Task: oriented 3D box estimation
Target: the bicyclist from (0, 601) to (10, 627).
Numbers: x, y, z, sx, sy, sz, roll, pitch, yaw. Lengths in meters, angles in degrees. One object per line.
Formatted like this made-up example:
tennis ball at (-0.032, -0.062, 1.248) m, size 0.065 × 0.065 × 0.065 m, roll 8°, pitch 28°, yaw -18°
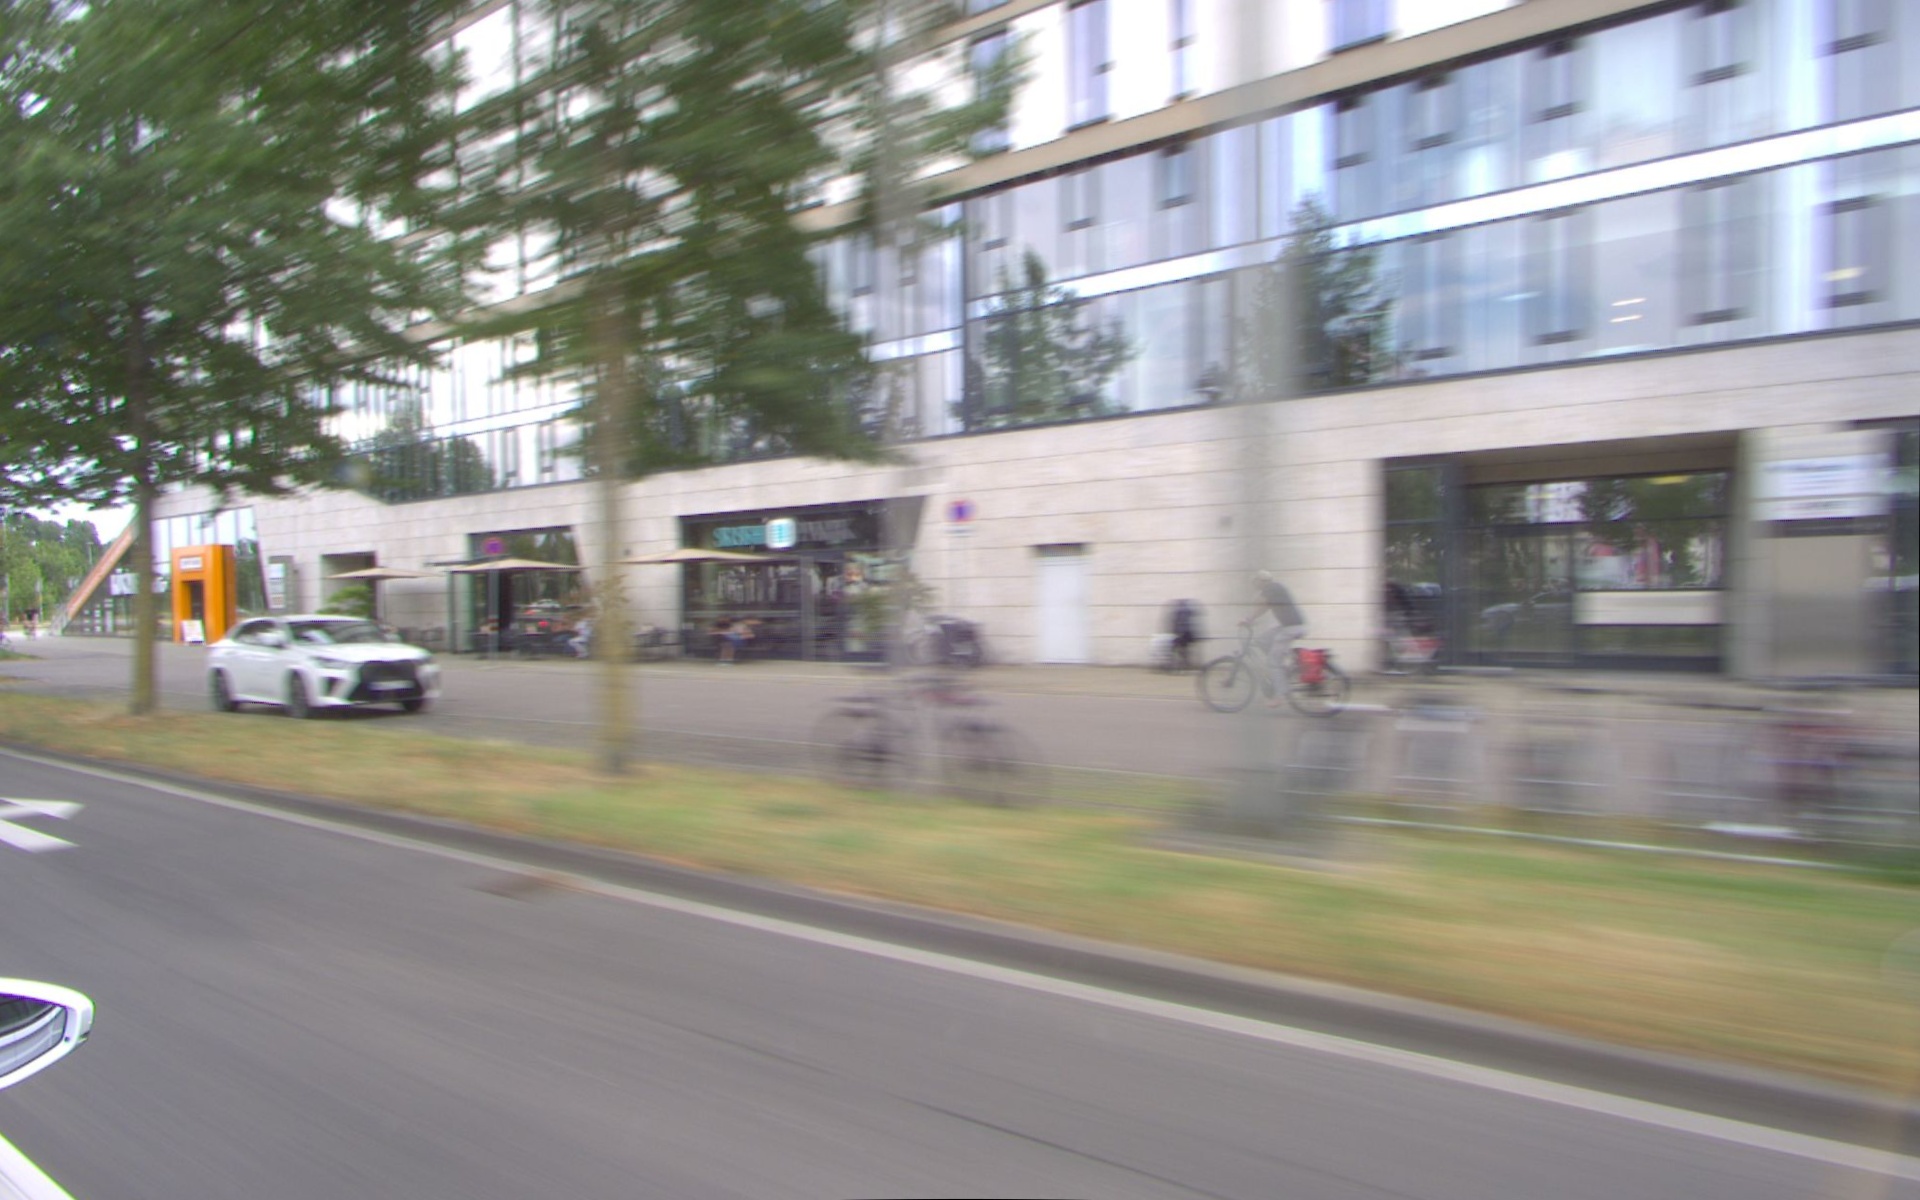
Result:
bicyclist at (-68.566, 1.004, 71.434) m, size 1.157 × 1.813 × 0.864 m, roll 0°, pitch 1°, yaw 32°

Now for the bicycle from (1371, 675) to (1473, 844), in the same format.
bicycle at (3.213, 1.019, 6.891) m, size 0.494 × 0.963 × 1.860 m, roll 0°, pitch -3°, yaw 29°

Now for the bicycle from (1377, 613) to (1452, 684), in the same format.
bicycle at (7.303, 0.761, 16.162) m, size 0.599 × 1.040 × 1.602 m, roll -1°, pitch 1°, yaw 6°

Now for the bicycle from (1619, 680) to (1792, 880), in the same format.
bicycle at (4.424, 0.989, 6.057) m, size 0.603 × 0.963 × 1.860 m, roll 0°, pitch -3°, yaw 29°

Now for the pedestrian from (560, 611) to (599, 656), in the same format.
pedestrian at (-10.642, 0.926, 28.002) m, size 0.748 × 1.208 × 0.716 m, roll 0°, pitch 1°, yaw 34°

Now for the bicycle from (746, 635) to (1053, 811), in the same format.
bicycle at (-0.462, 0.841, 7.367) m, size 2.167 × 1.129 × 0.710 m, roll 0°, pitch -2°, yaw 25°

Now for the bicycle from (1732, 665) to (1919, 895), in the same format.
bicycle at (4.991, 0.923, 5.677) m, size 0.694 × 1.078 × 1.929 m, roll 0°, pitch -3°, yaw 29°

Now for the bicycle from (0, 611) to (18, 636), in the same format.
bicycle at (-45.707, 1.111, 47.774) m, size 1.979 × 1.158 × 0.672 m, roll -1°, pitch 0°, yaw 33°

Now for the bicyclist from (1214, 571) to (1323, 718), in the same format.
bicyclist at (3.987, 0.542, 12.926) m, size 1.113 × 1.761 × 0.994 m, roll 0°, pitch 4°, yaw 32°

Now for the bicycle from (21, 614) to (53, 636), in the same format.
bicycle at (-45.151, 1.205, 48.968) m, size 1.979 × 1.056 × 0.672 m, roll -1°, pitch 0°, yaw 33°

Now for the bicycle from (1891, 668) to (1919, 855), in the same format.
bicycle at (5.581, 0.905, 5.207) m, size 0.632 × 1.078 × 1.929 m, roll 0°, pitch -3°, yaw 29°

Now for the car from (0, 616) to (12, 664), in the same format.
car at (-31.845, 1.264, 30.051) m, size 4.776 × 1.495 × 1.947 m, roll -1°, pitch 0°, yaw -2°

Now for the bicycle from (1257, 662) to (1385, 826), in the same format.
bicycle at (2.649, 0.959, 7.228) m, size 0.565 × 1.007 × 1.860 m, roll 0°, pitch -3°, yaw 29°

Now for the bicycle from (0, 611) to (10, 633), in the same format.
bicycle at (-68.583, 1.552, 71.371) m, size 1.978 × 1.526 × 0.704 m, roll 0°, pitch 1°, yaw 30°

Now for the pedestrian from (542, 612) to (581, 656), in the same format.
pedestrian at (-11.340, 0.948, 28.468) m, size 0.748 × 1.208 × 0.717 m, roll 0°, pitch 1°, yaw 32°

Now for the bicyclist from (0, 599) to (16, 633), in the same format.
bicyclist at (-45.610, 0.763, 47.695) m, size 0.976 × 1.603 × 0.723 m, roll 0°, pitch 1°, yaw 32°

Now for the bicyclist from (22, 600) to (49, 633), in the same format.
bicyclist at (-45.258, 0.809, 49.018) m, size 0.976 × 1.603 × 0.723 m, roll 0°, pitch 1°, yaw 33°

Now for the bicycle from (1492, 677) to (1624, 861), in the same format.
bicycle at (3.829, 1.005, 6.482) m, size 0.643 × 0.963 × 1.860 m, roll 0°, pitch -3°, yaw 29°

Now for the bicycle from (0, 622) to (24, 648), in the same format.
bicycle at (-36.705, 1.338, 38.347) m, size 2.075 × 0.968 × 0.629 m, roll -1°, pitch 0°, yaw 29°

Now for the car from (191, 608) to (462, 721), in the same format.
car at (-10.275, 0.929, 16.162) m, size 4.527 × 1.572 × 1.934 m, roll 0°, pitch 0°, yaw 32°

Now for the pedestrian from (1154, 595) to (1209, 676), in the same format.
pedestrian at (4.018, 0.630, 18.172) m, size 0.712 × 1.425 × 0.753 m, roll 0°, pitch 1°, yaw 40°

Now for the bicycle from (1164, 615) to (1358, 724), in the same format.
bicycle at (3.884, 0.854, 12.979) m, size 2.235 × 1.252 × 0.899 m, roll -1°, pitch 3°, yaw 32°

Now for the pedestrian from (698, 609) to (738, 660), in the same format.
pedestrian at (-5.956, 0.833, 24.636) m, size 0.712 × 1.208 × 0.753 m, roll -1°, pitch 1°, yaw -35°

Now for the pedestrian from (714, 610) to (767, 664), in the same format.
pedestrian at (-5.164, 0.853, 23.562) m, size 0.767 × 1.208 × 1.096 m, roll -1°, pitch 1°, yaw -42°

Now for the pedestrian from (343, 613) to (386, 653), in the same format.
pedestrian at (-19.206, 1.056, 32.271) m, size 0.938 × 1.245 × 0.894 m, roll 0°, pitch 1°, yaw 38°
